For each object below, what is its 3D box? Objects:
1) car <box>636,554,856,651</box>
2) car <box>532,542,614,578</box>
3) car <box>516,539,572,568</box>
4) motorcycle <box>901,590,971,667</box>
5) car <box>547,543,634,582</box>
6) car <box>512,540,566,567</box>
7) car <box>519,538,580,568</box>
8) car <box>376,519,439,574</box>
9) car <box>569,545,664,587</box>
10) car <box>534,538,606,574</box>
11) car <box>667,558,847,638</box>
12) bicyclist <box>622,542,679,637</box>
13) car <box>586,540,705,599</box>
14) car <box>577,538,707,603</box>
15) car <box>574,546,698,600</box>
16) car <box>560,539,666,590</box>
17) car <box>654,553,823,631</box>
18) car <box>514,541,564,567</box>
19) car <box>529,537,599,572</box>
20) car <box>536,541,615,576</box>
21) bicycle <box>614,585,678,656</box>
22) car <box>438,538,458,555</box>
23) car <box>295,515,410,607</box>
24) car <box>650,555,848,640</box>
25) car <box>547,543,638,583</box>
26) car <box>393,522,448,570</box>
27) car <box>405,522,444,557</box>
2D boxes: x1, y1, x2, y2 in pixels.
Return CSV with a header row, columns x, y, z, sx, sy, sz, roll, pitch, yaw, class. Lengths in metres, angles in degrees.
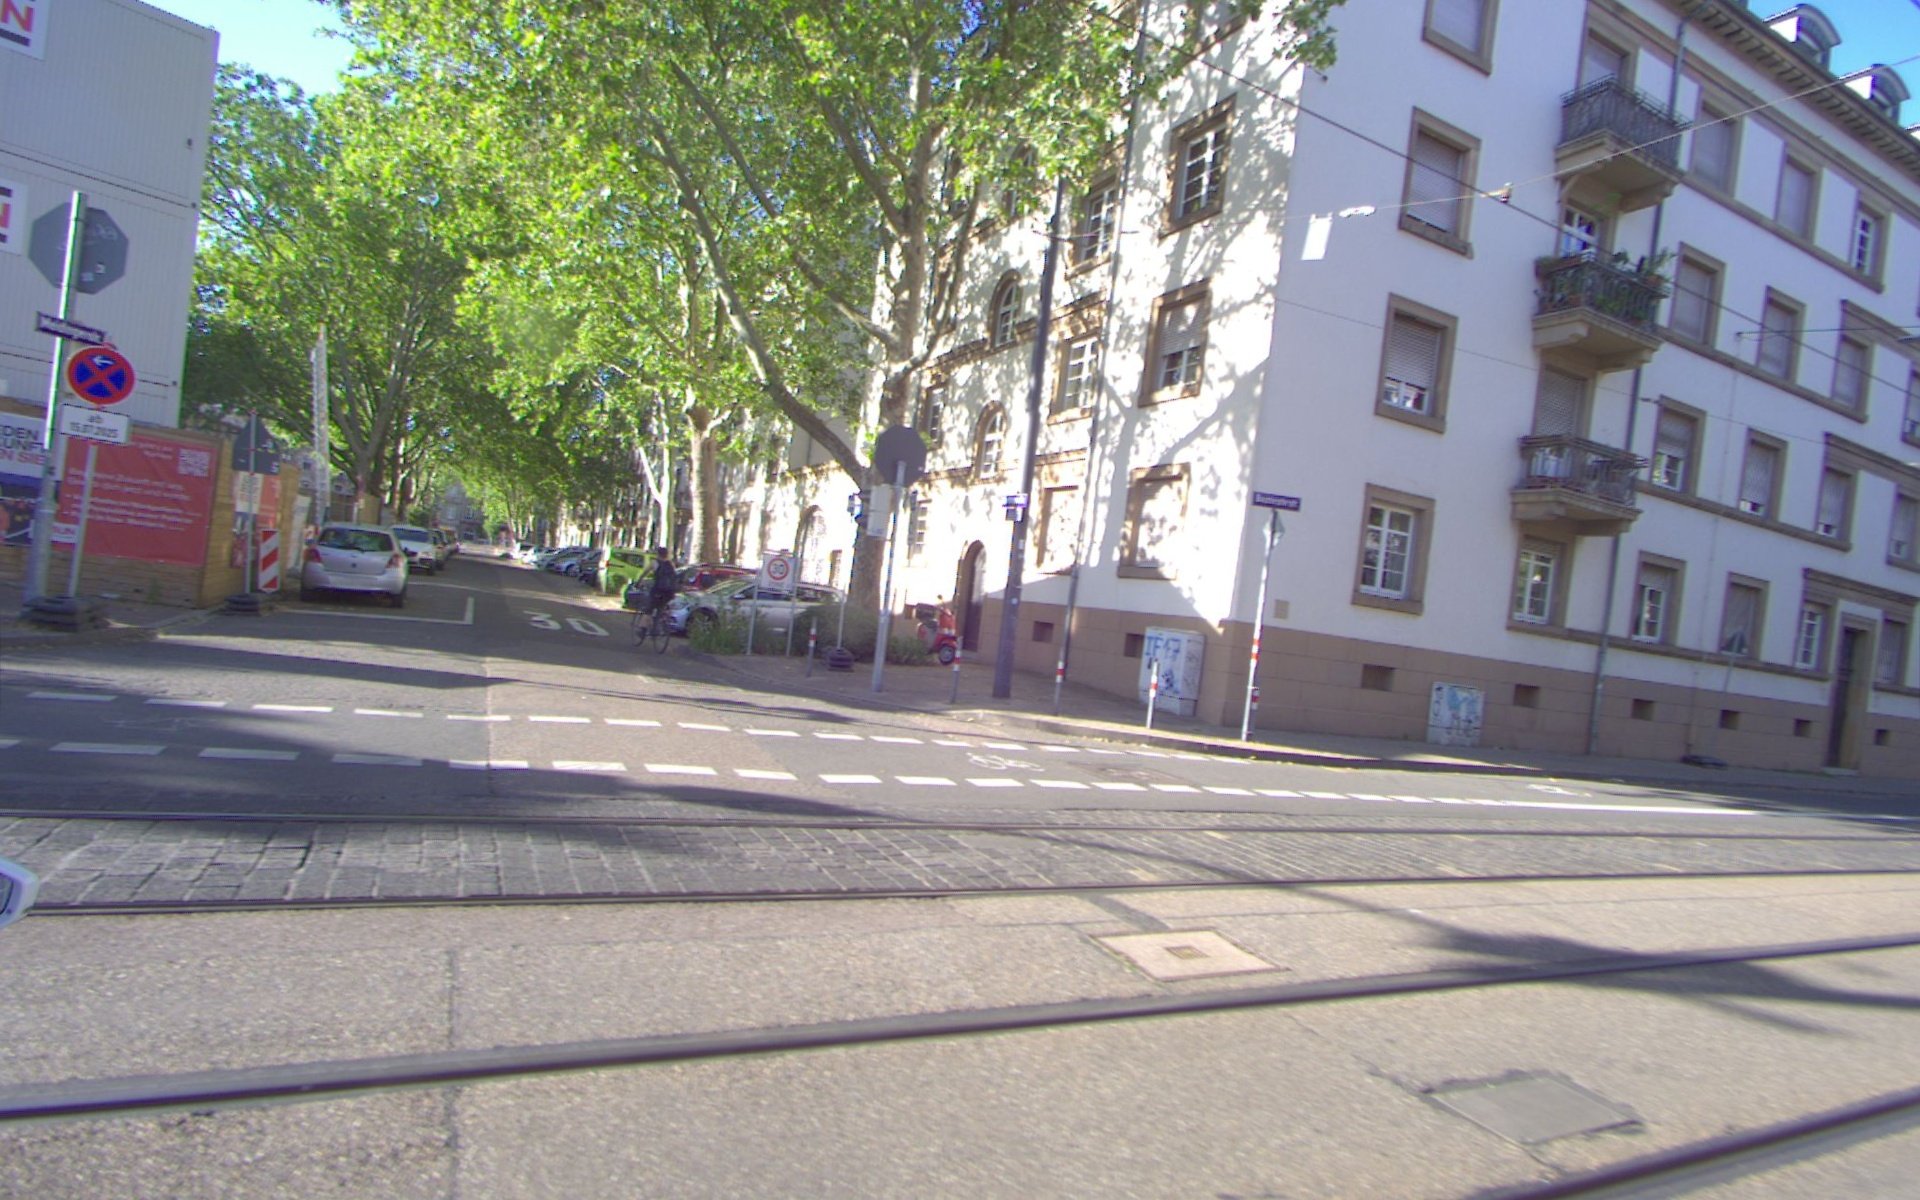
x,y,z,sx,sy,sz,roll,pitch,yaw,class
-4.777,0.074,22.626,4.424,1.590,1.716,7,0,-28,car
-23.739,-2.453,61.672,4.424,1.590,1.716,7,0,-28,car
-37.589,-4.202,90.960,4.424,1.921,1.716,7,1,-28,car
-0.501,0.540,20.185,0.509,1.349,1.750,6,1,-29,motorcycle
-21.176,-2.148,57.673,4.424,1.590,1.716,7,0,-28,car
-39.137,-4.349,93.565,4.424,1.921,1.716,7,1,-28,car
-34.373,-3.934,84.318,4.424,1.921,1.716,7,1,-28,car
-18.857,-1.841,34.447,1.651,1.582,3.971,7,0,-28,car
-18.047,-1.795,52.947,4.424,1.590,1.716,7,0,-28,car
-27.352,-3.098,70.546,4.424,1.921,1.716,7,1,-28,car
-5.554,-0.048,27.605,4.424,1.590,1.716,7,0,-28,car
-5.378,-0.186,17.469,0.670,1.531,0.664,8,0,-26,bicyclist
-13.311,-1.279,42.631,4.425,1.859,1.715,7,1,-29,car
-12.245,-1.127,38.802,4.425,1.859,1.715,7,1,-29,car
-13.061,-1.081,40.644,4.424,1.590,1.716,7,0,-28,car
-16.594,-1.691,48.140,4.425,1.859,1.715,7,1,-29,car
-6.465,-0.227,29.459,4.424,1.691,1.716,7,0,-28,car
-42.660,-4.663,101.943,4.424,1.921,1.716,7,1,-28,car
-28.718,-3.268,72.931,4.424,1.921,1.716,7,1,-28,car
-24.406,-2.627,63.908,4.424,1.590,1.716,7,0,-28,car
-5.513,0.334,17.594,0.684,1.028,1.895,8,0,-25,bicycle
-55.164,-5.783,108.364,1.651,1.582,4.188,7,0,-28,car
-11.916,-0.806,19.932,1.629,1.514,3.971,4,2,-28,car
-5.250,-0.061,25.116,4.424,1.519,1.716,7,0,-28,car
-20.208,-2.046,55.409,4.424,1.590,1.716,7,0,-28,car
-21.221,-2.157,39.628,1.651,1.582,4.486,7,0,-28,car
-28.807,-3.252,54.158,1.651,1.582,4.582,7,0,-28,car
